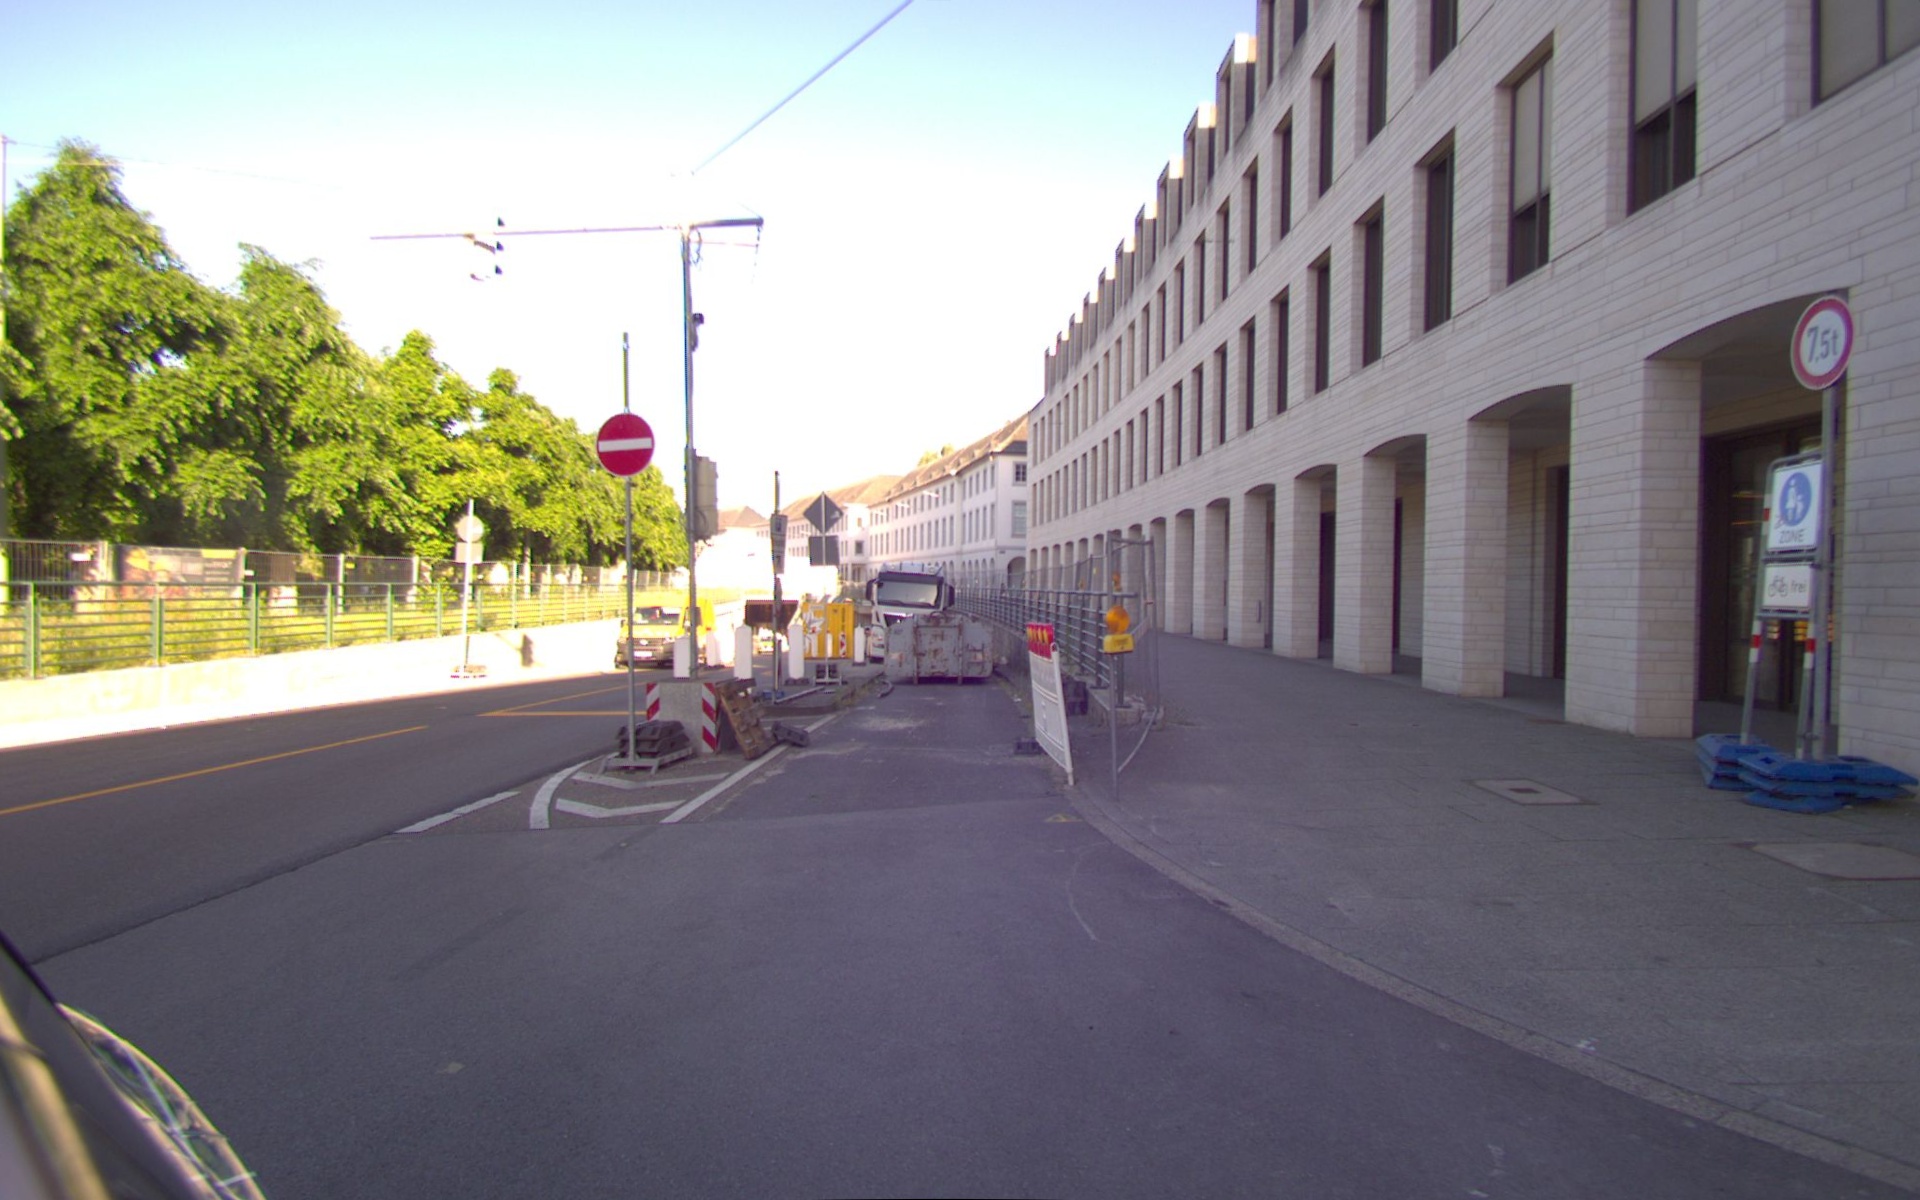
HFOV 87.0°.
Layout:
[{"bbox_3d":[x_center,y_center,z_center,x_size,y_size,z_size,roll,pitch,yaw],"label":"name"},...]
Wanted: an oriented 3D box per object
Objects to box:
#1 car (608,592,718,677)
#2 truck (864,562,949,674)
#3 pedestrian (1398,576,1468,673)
[{"bbox_3d":[-10.077,1.215,35.013,2.087,2.645,6.991,0,-2,-3],"label":"car"},{"bbox_3d":[-1.849,0.703,35.978,2.551,3.516,5.817,4,-3,-2],"label":"truck"},{"bbox_3d":[8.546,0.432,18.315,0.848,1.697,0.879,1,0,2],"label":"pedestrian"}]
